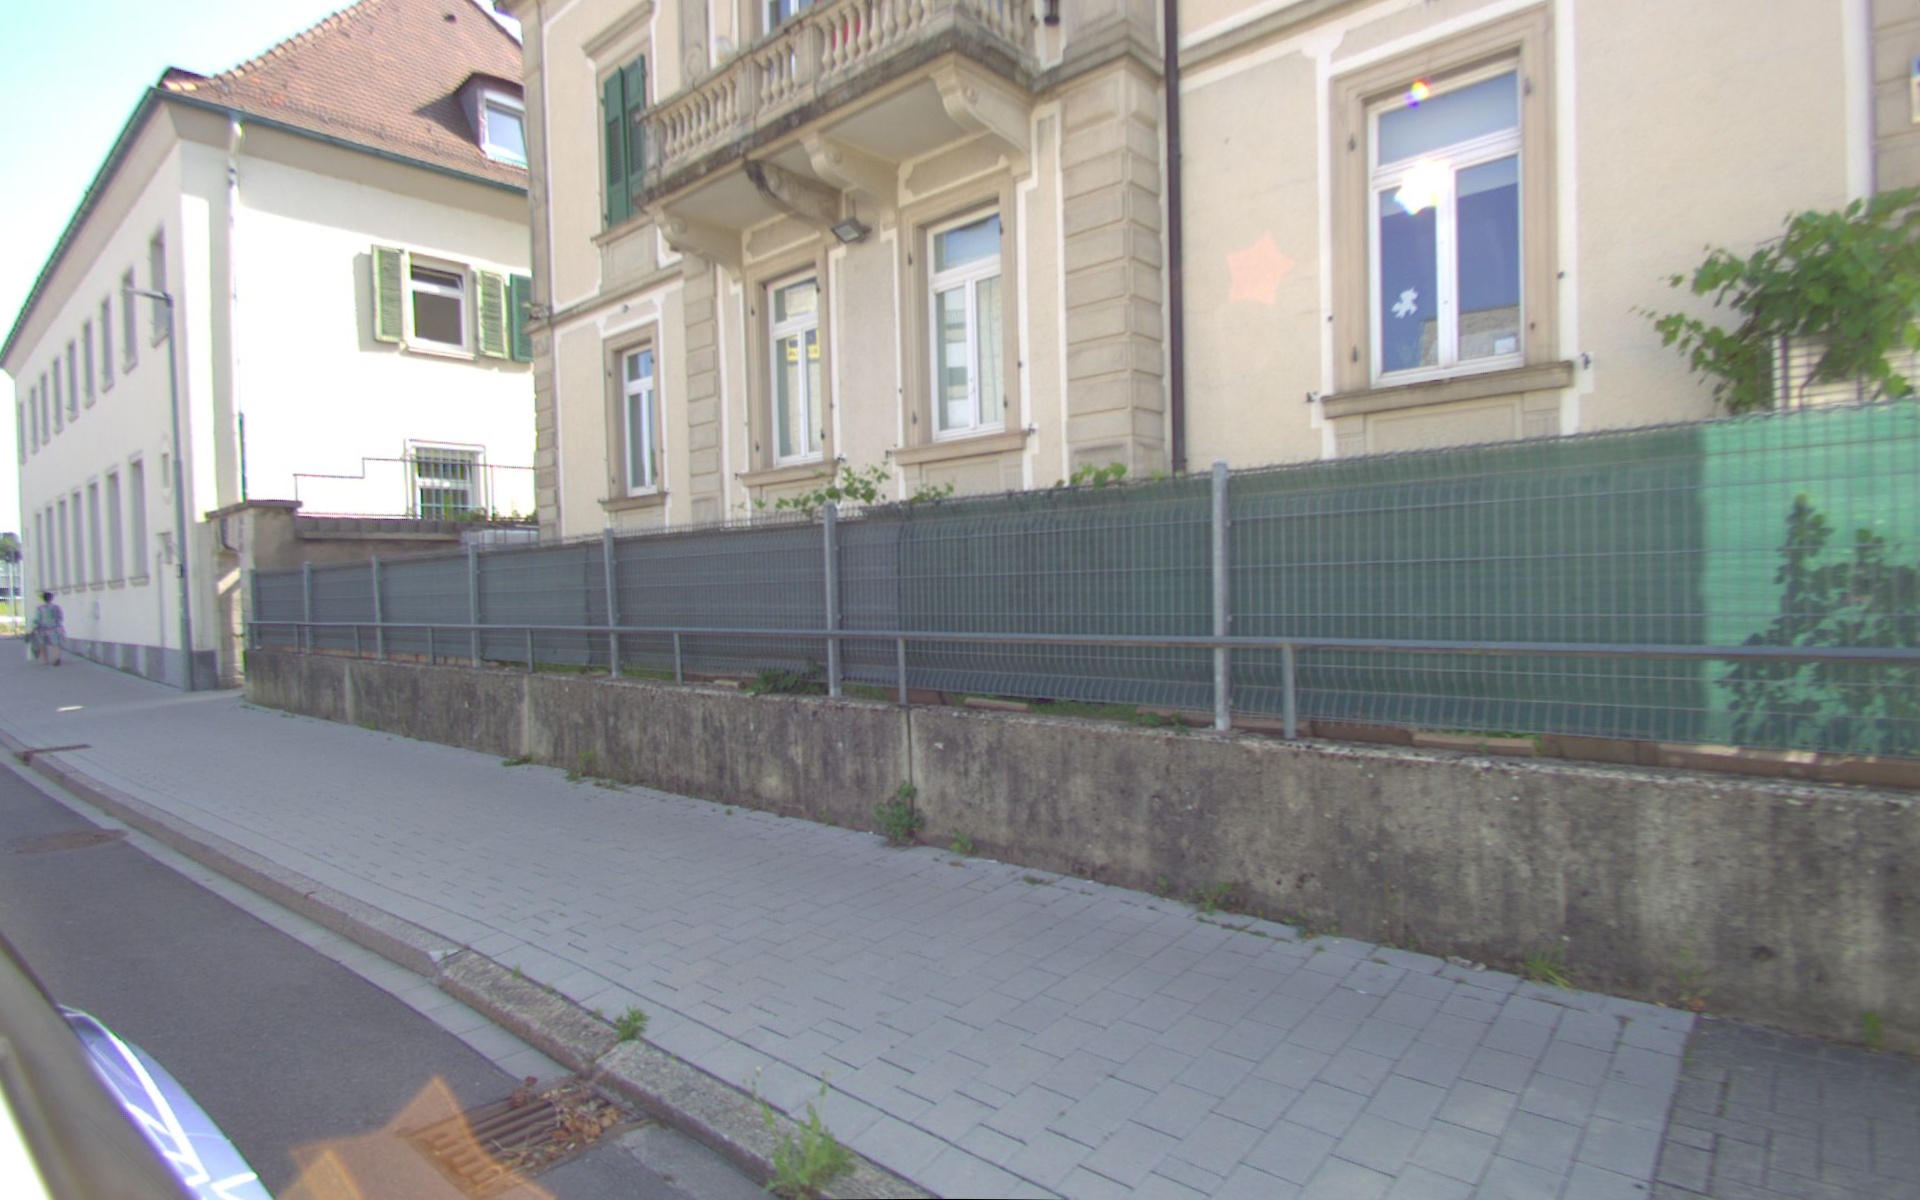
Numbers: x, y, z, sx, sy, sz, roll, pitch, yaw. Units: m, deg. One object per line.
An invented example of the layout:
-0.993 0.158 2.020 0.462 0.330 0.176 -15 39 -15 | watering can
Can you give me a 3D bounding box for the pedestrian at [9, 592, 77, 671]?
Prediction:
-20.056 0.665 22.140 0.758 1.643 0.948 -1 2 41 | pedestrian
